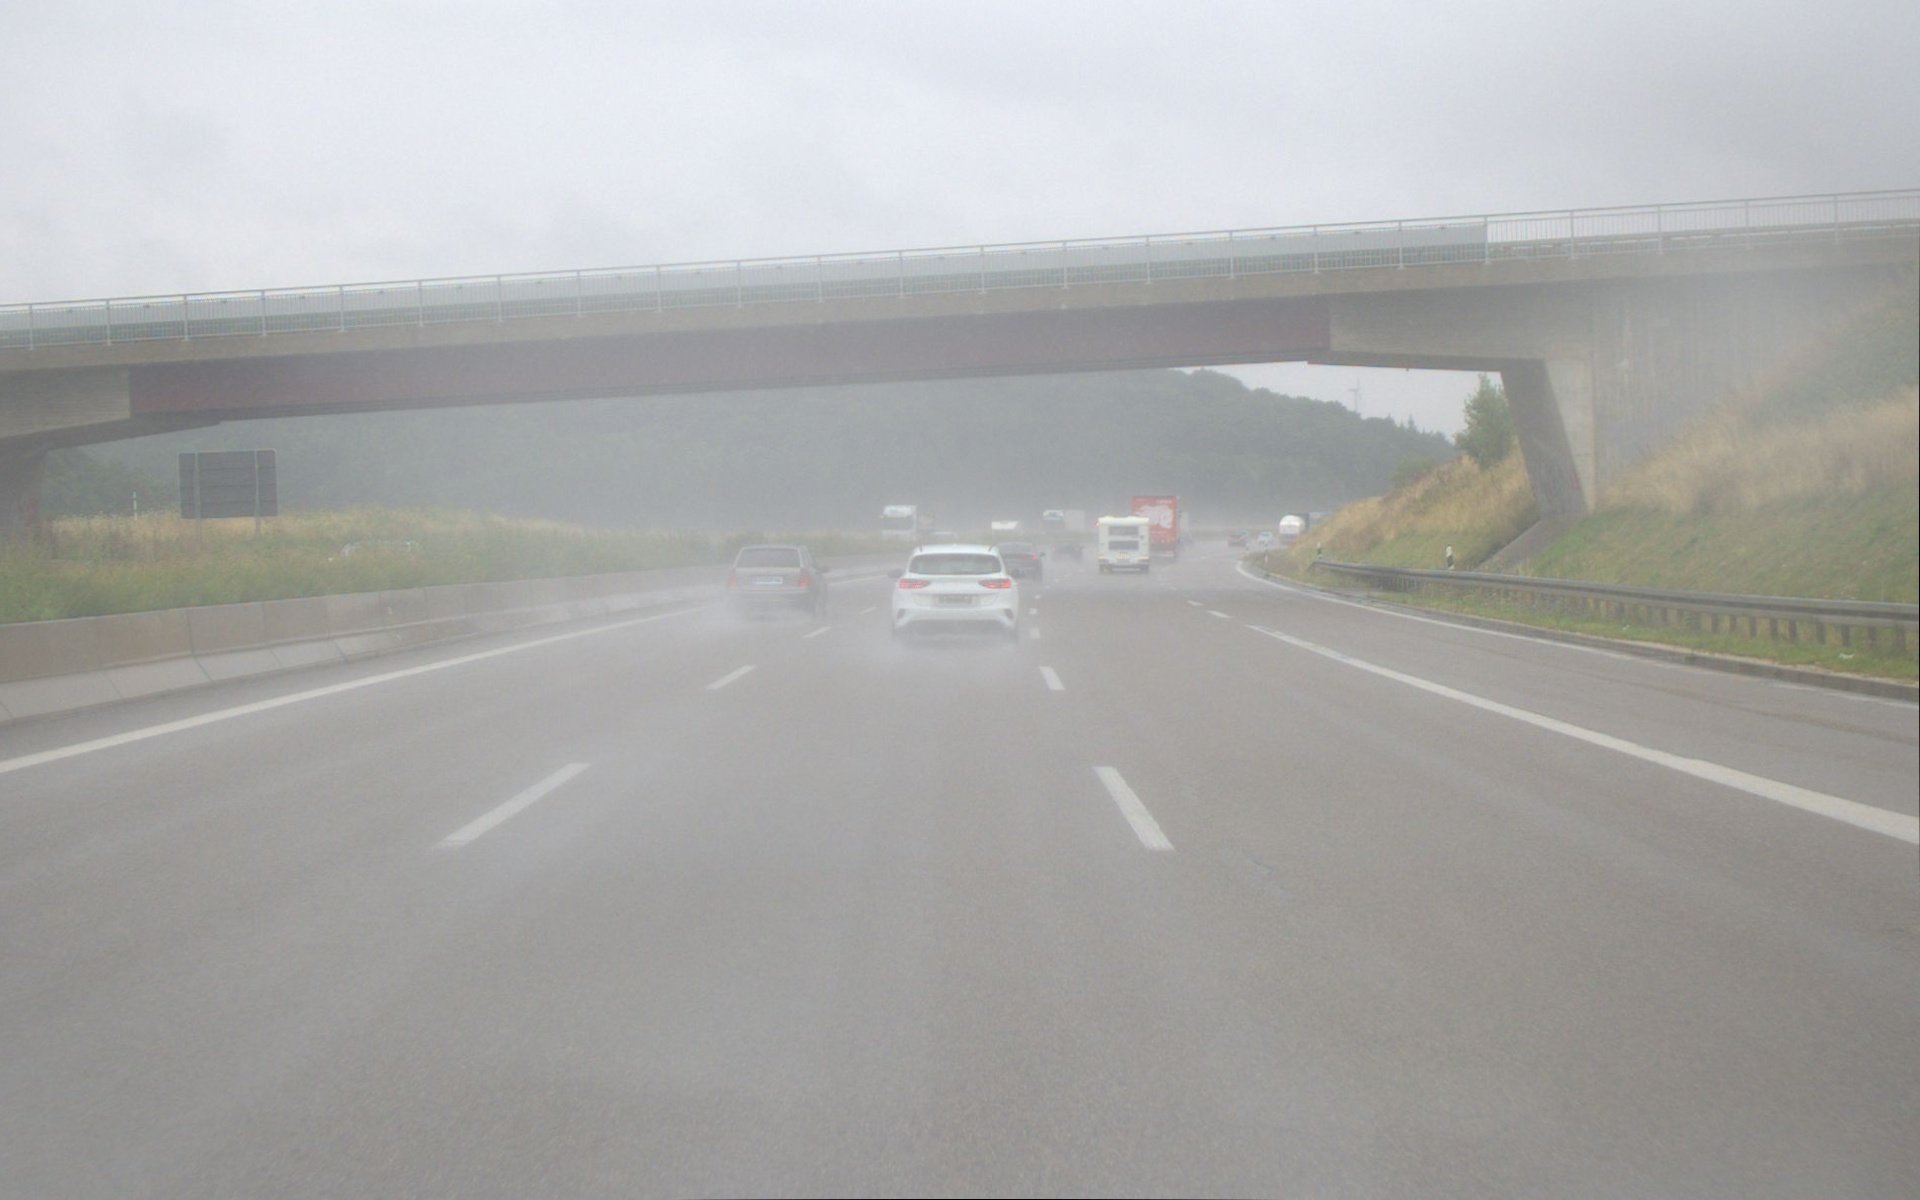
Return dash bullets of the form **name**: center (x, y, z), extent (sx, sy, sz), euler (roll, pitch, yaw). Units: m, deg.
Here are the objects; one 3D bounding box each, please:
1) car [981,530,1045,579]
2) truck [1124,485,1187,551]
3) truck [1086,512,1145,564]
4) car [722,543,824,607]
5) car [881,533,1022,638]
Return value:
- **car**: center (1.805, -1.555, 116.149), extent (1.994, 1.612, 4.000), euler (0, 1, 3)
- **truck**: center (11.599, -4.932, 204.764), extent (3.527, 3.730, 11.426), euler (1, 2, 2)
- **truck**: center (6.942, -2.772, 153.115), extent (2.408, 2.244, 4.692), euler (0, 1, 5)
- **car**: center (-3.532, -0.459, 65.416), extent (1.823, 1.152, 4.213), euler (1, 0, -2)
- **car**: center (-0.166, -0.221, 49.712), extent (1.867, 1.458, 4.000), euler (0, 1, -2)
